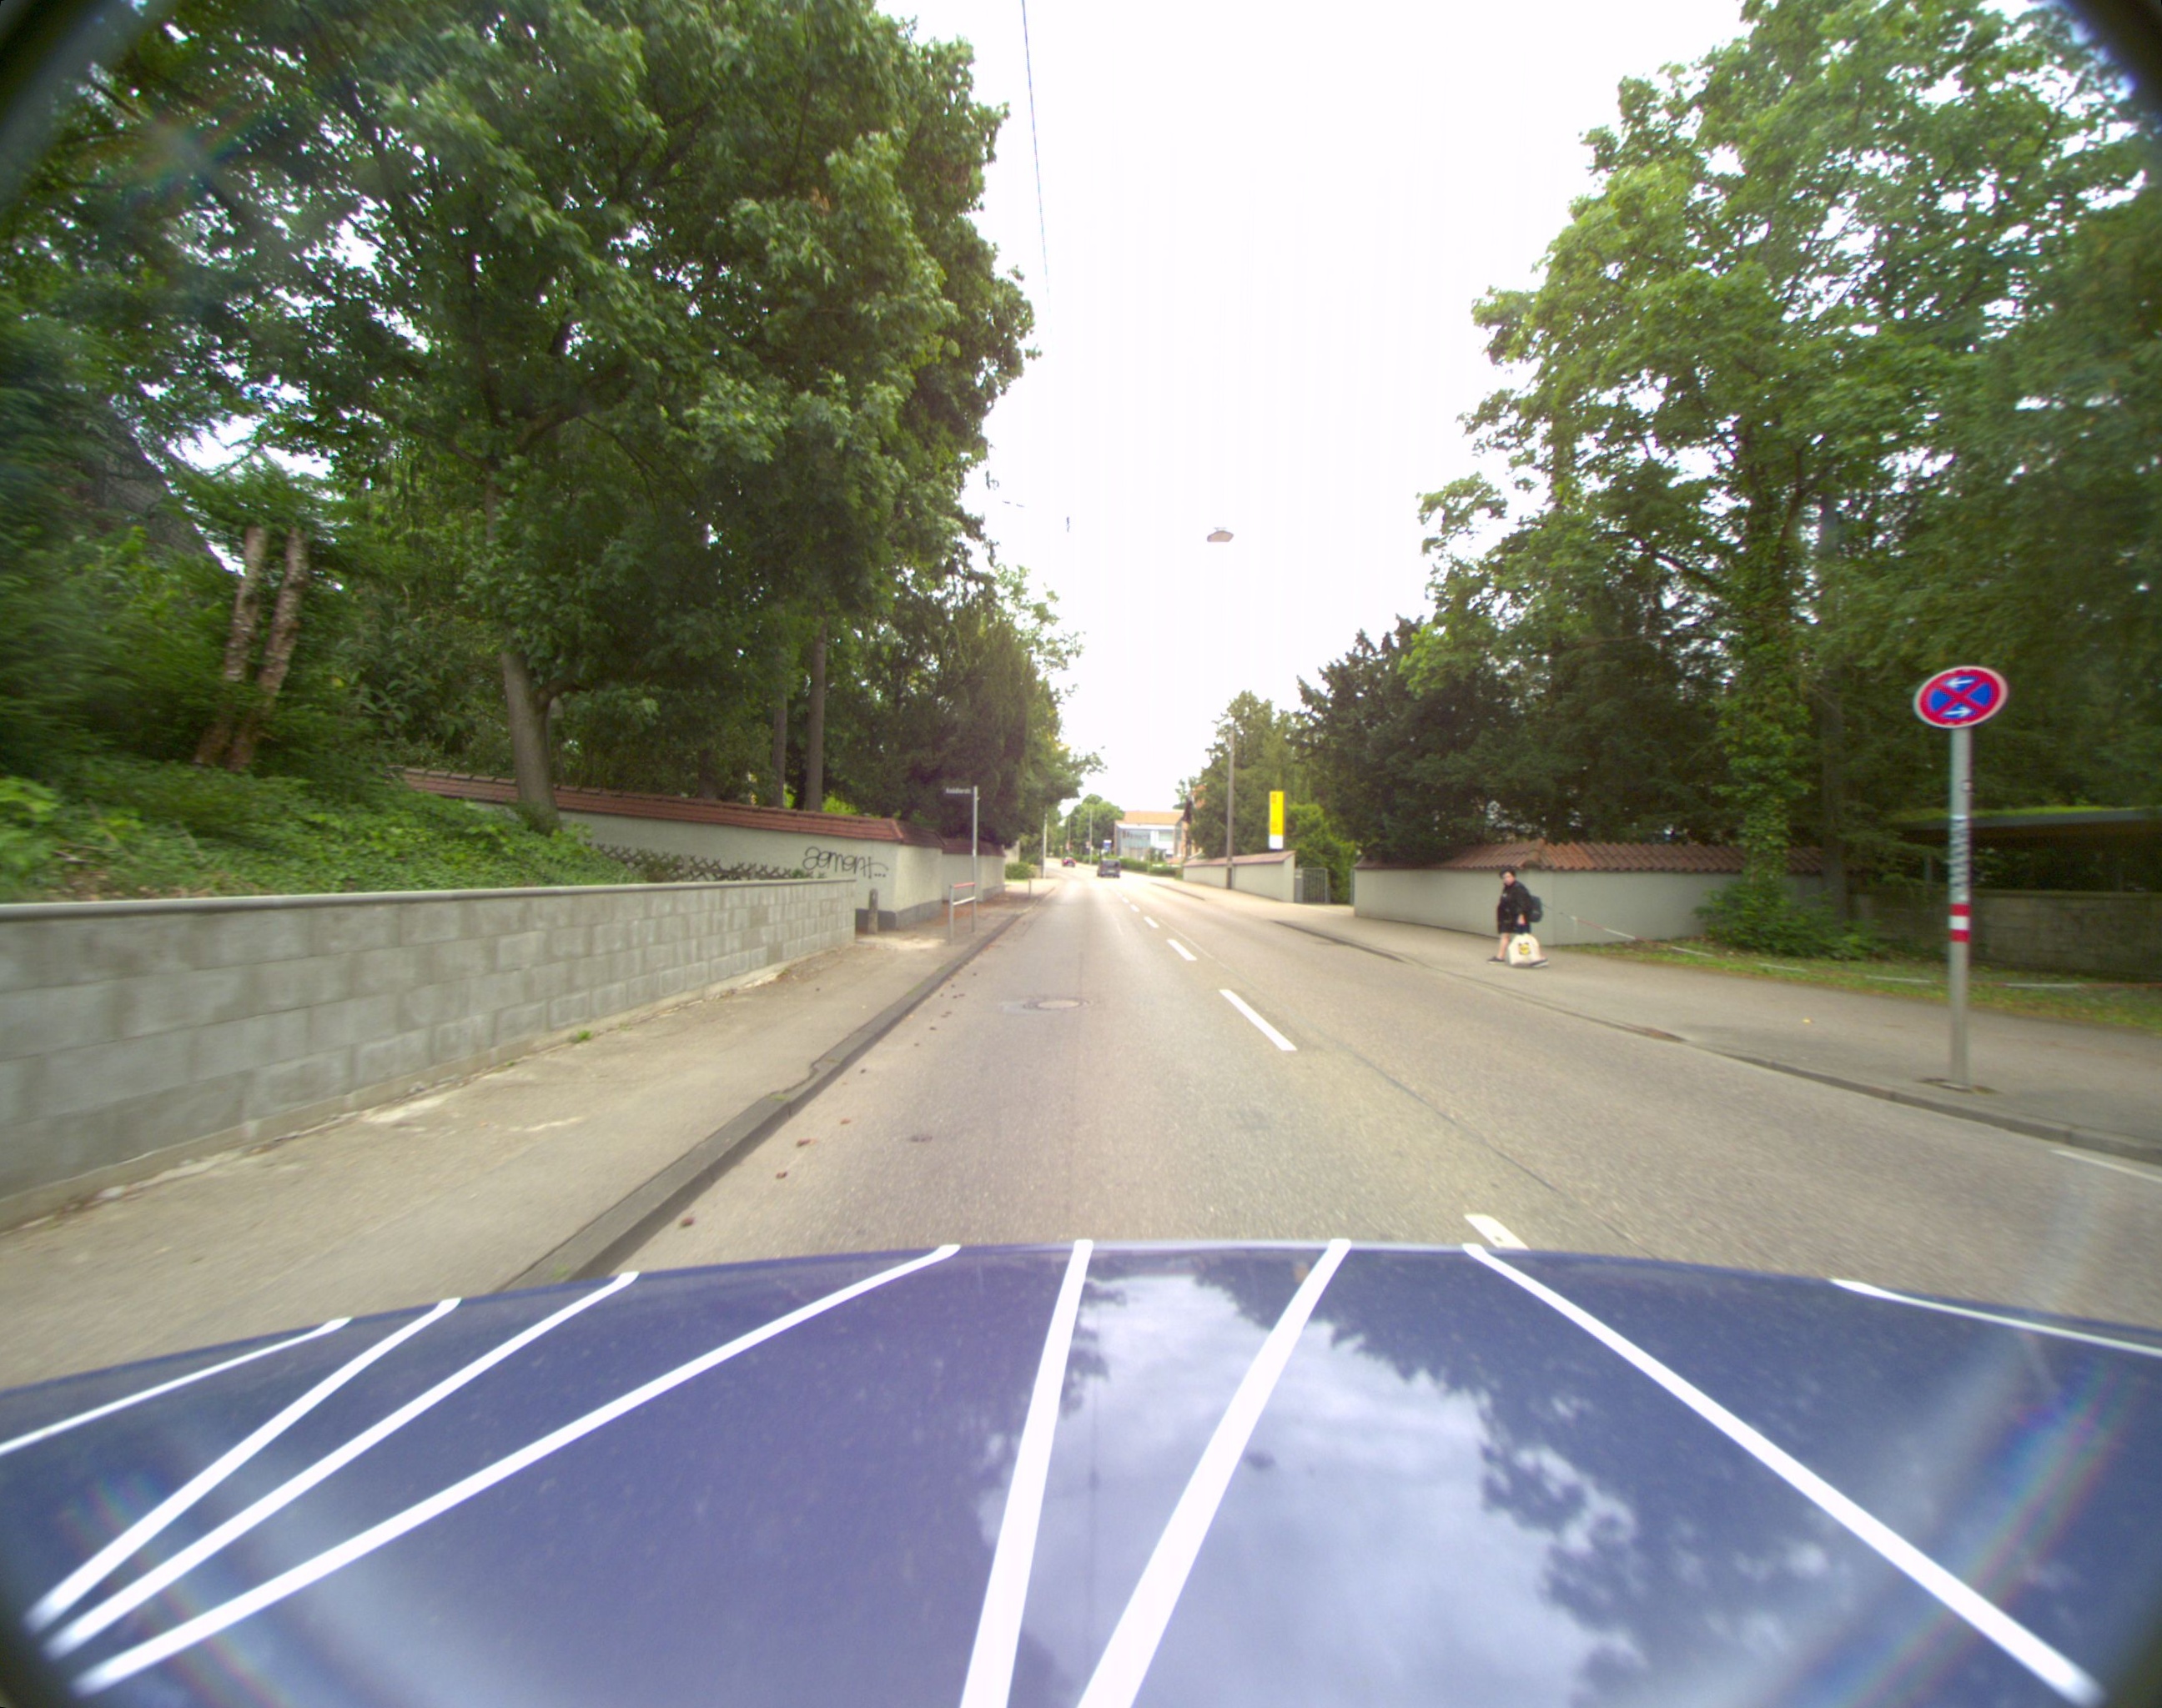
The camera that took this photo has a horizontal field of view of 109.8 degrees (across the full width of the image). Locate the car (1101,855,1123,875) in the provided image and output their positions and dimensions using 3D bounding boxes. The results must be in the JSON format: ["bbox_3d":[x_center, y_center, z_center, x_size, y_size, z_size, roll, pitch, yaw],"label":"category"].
[{"bbox_3d":[3.085,1.066,76.175,1.895,1.845,5.083,1,0,0],"label":"car"}]

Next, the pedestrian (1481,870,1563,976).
[{"bbox_3d":[6.831,1.042,11.809,0.900,1.551,0.930,-1,0,18],"label":"pedestrian"}]

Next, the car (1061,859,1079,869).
[{"bbox_3d":[-1.714,1.501,115.385,1.792,1.420,3.994,1,0,-16],"label":"car"}]
